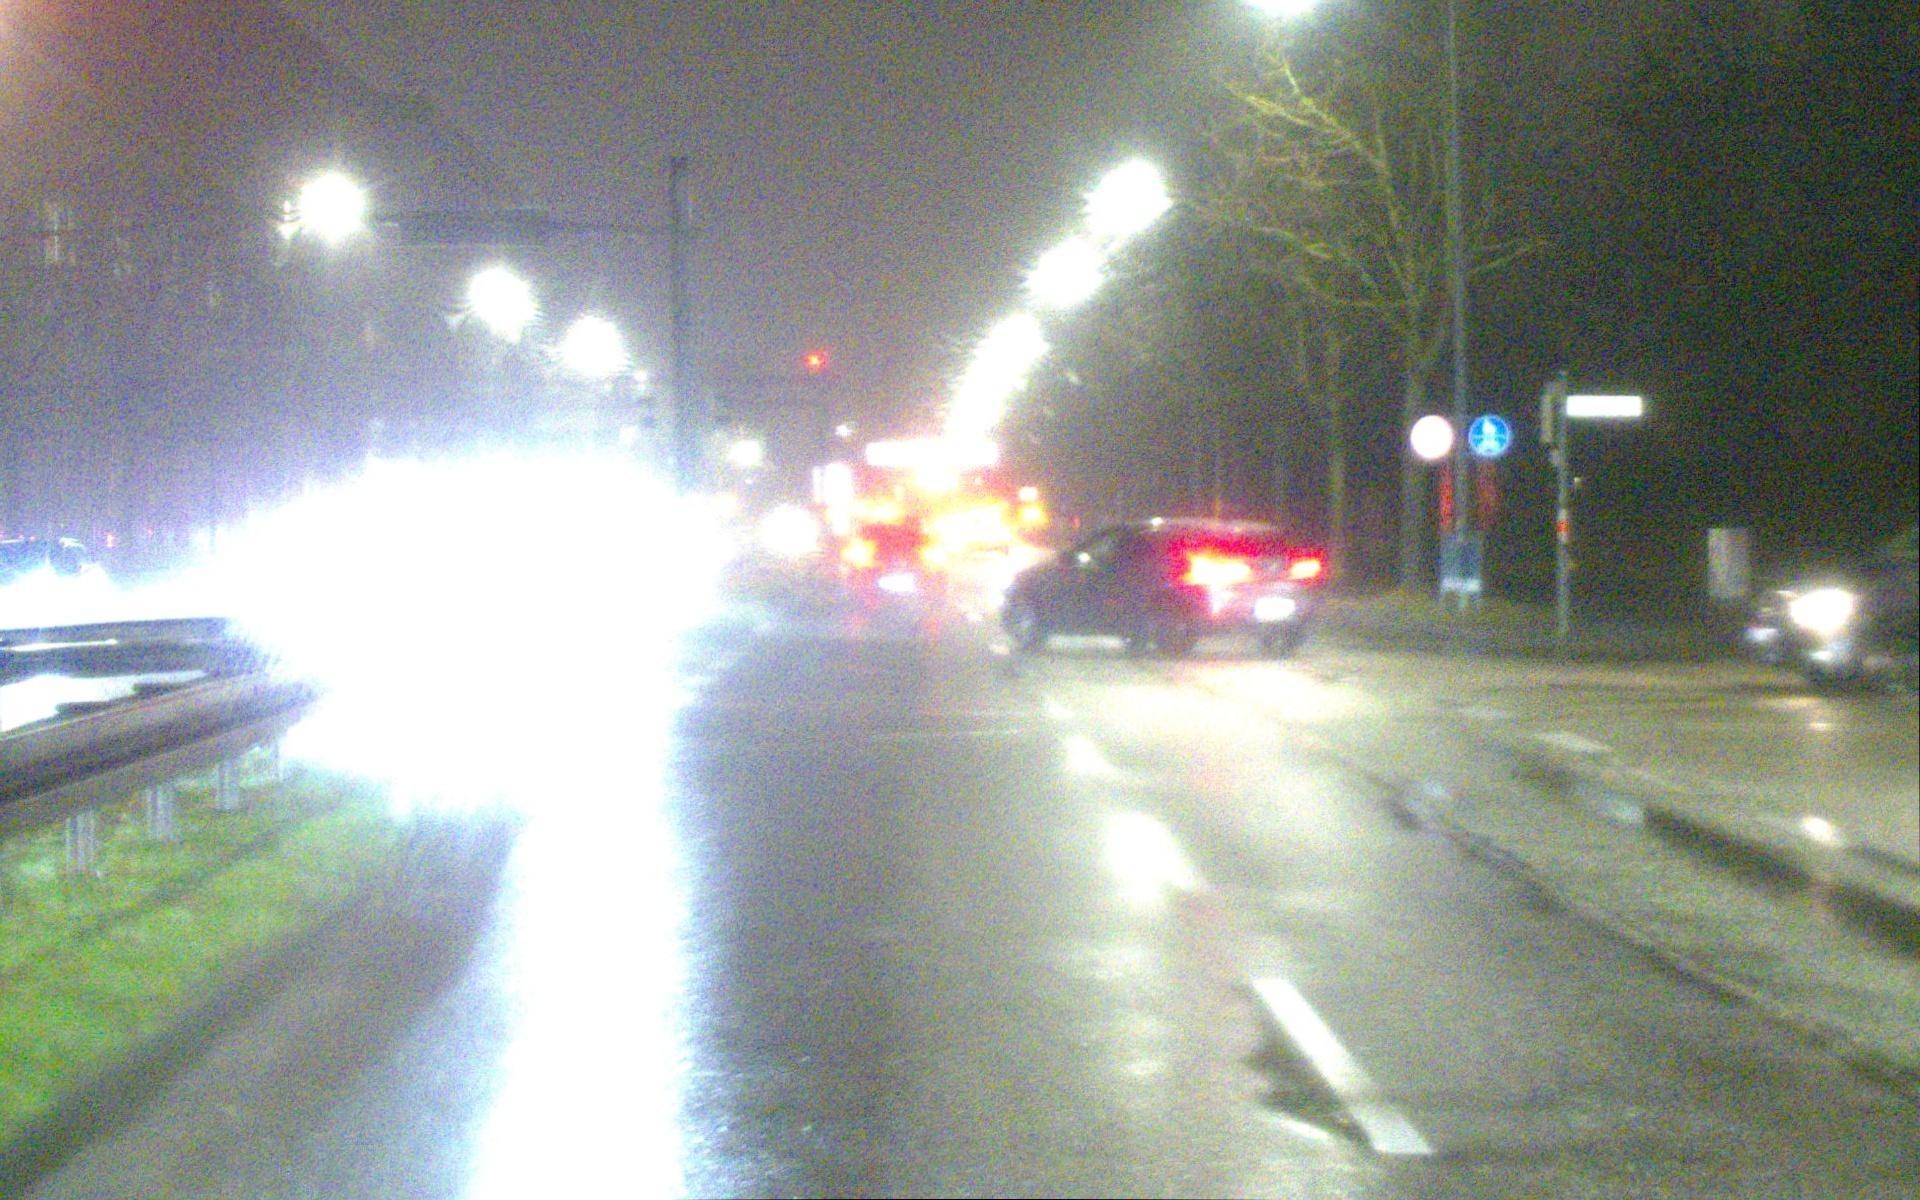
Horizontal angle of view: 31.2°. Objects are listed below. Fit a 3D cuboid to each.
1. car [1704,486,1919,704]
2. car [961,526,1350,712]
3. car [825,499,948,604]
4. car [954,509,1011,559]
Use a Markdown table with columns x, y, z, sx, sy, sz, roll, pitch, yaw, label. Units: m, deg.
| x | y | z | sx | sy | sz | roll | pitch | yaw | label |
| --- | --- | --- | --- | --- | --- | --- | --- | --- | --- |
| 8.899 | -0.023 | 28.656 | 4.902 | 1.735 | 1.971 | 1 | 0 | -2 | car |
| 2.183 | 0.174 | 39.663 | 1.994 | 2.007 | 4.632 | 0 | 1 | -35 | car |
| -1.231 | -0.817 | 58.956 | 1.993 | 1.700 | 4.633 | 1 | 1 | -1 | car |
| 0.818 | -2.421 | 126.590 | 1.993 | 1.753 | 4.000 | 1 | 1 | -1 | car |
